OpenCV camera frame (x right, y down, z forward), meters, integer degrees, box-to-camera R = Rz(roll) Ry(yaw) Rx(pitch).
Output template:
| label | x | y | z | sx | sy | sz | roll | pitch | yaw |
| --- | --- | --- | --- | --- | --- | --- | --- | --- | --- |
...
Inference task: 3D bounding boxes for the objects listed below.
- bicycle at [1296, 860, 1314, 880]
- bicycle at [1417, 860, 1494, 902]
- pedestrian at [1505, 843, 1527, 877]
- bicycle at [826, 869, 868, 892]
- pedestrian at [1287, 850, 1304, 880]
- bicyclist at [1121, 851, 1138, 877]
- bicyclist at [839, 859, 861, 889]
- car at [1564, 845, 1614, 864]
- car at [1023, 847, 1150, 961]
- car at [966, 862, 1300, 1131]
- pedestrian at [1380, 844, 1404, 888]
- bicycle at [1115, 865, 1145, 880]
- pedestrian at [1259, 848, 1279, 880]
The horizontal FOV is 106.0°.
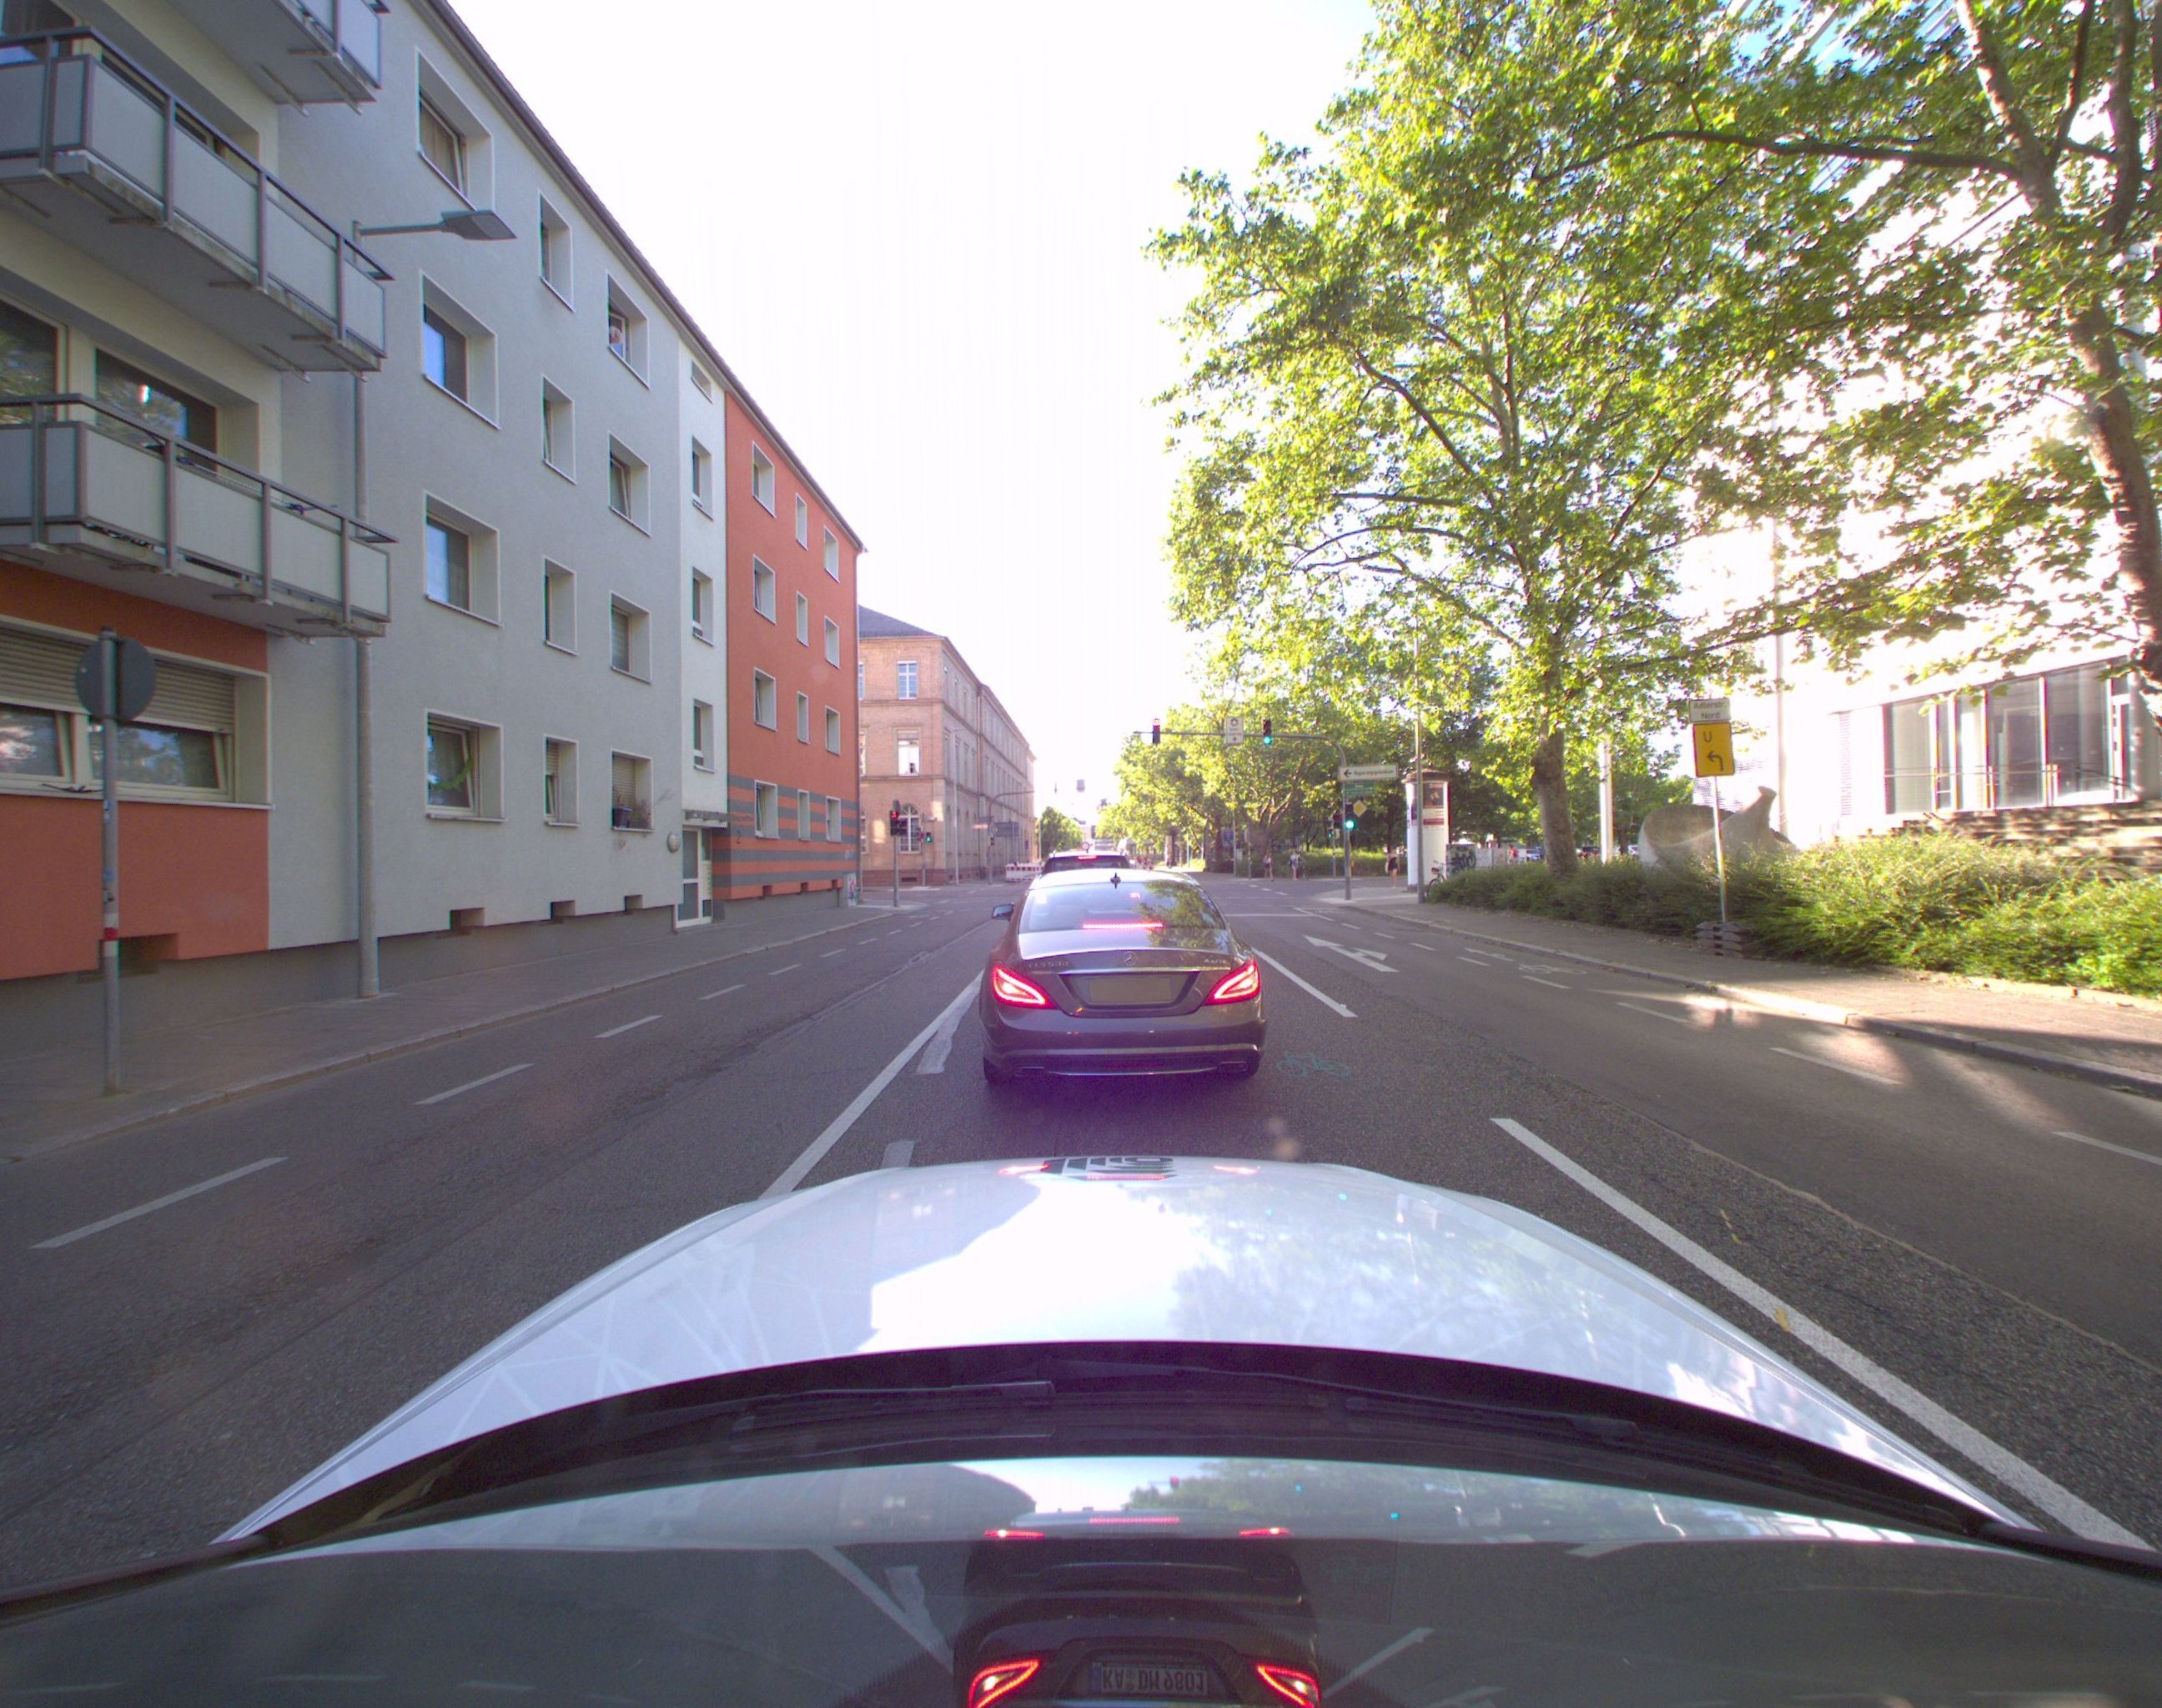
| label | x | y | z | sx | sy | sz | roll | pitch | yaw |
| --- | --- | --- | --- | --- | --- | --- | --- | --- | --- |
| bicycle | 12.851 | 0.900 | 46.794 | 0.522 | 1.100 | 1.740 | 0 | -1 | -1 |
| bicycle | 10.798 | 0.769 | 23.489 | 1.969 | 1.190 | 0.528 | 0 | -1 | 0 |
| pedestrian | 23.505 | 0.328 | 43.987 | 0.779 | 1.835 | 0.685 | 0 | -1 | -5 |
| bicycle | -11.682 | 1.317 | 40.669 | 1.957 | 1.062 | 0.704 | 0 | -1 | -10 |
| pedestrian | 12.358 | 0.622 | 47.002 | 0.681 | 1.697 | 0.970 | 0 | -1 | -1 |
| bicyclist | 3.035 | 0.615 | 50.770 | 0.809 | 1.558 | 0.644 | 0 | -1 | -29 |
| bicyclist | -11.544 | 1.001 | 40.719 | 0.950 | 1.500 | 0.819 | 0 | -1 | -10 |
| car | 39.736 | 0.043 | 63.813 | 1.624 | 1.483 | 3.796 | 0 | -1 | 1 |
| car | 0.198 | 0.742 | 13.848 | 1.801 | 1.612 | 4.003 | -1 | -1 | 3 |
| car | 0.172 | 0.796 | 6.731 | 1.839 | 1.429 | 4.511 | 0 | 0 | -3 |
| pedestrian | 11.893 | 0.453 | 31.180 | 0.791 | 1.630 | 0.912 | -1 | -1 | 19 |
| bicycle | 3.076 | 1.128 | 50.786 | 1.873 | 0.891 | 0.544 | 0 | -1 | -29 |
| pedestrian | 10.807 | 0.592 | 46.764 | 0.733 | 1.808 | 0.904 | -1 | -2 | -16 |
